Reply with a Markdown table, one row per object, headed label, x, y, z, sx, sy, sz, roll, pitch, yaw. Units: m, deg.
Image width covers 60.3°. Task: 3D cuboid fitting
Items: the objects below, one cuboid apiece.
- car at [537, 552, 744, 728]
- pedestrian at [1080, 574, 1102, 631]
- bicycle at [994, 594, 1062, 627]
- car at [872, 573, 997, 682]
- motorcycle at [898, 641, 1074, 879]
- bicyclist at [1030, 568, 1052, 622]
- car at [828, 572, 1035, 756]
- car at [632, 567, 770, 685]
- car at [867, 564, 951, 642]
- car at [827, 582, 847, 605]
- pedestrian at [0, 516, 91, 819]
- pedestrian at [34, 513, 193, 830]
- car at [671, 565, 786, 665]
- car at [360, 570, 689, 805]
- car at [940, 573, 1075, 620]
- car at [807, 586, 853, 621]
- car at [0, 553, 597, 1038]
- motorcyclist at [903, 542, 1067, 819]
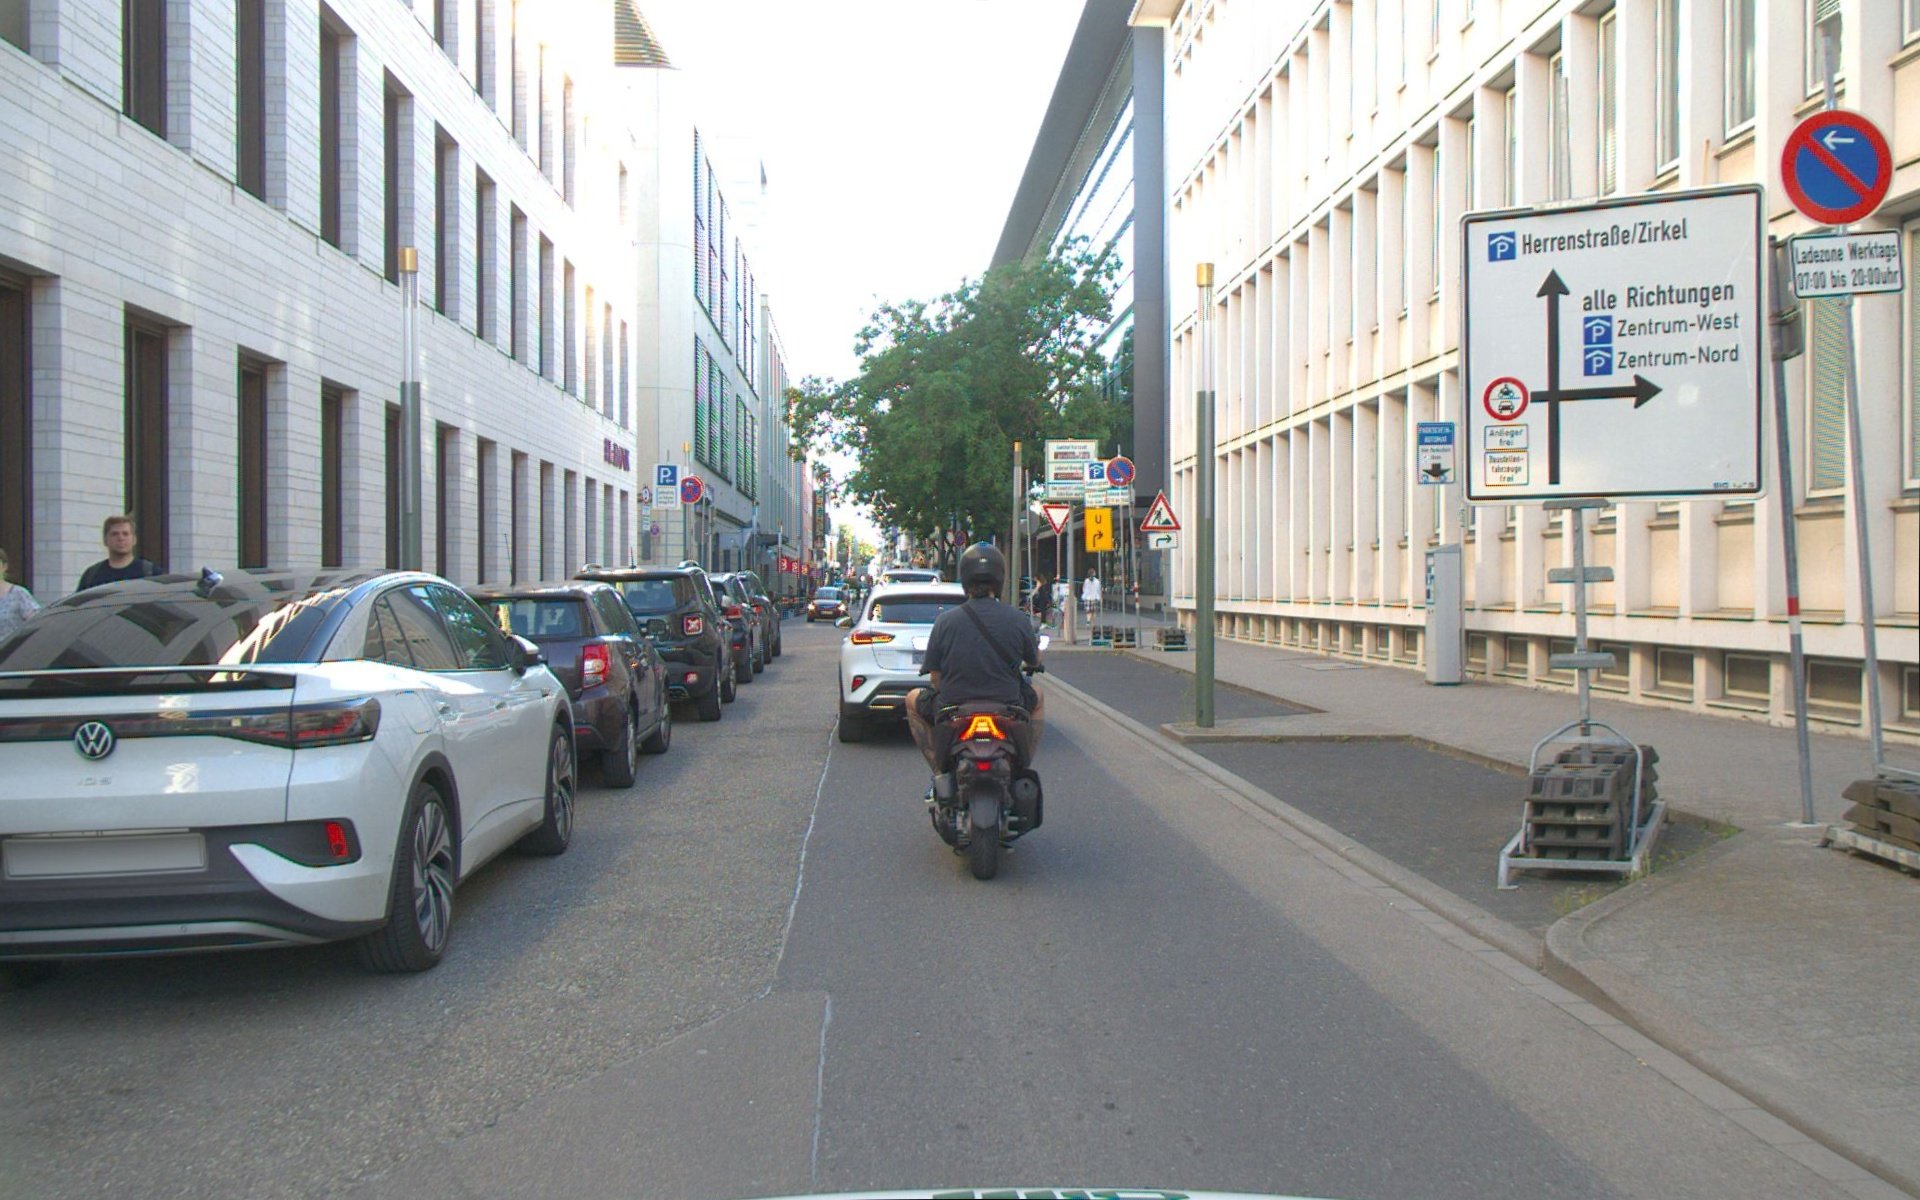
| label | x | y | z | sx | sy | sz | roll | pitch | yaw |
| --- | --- | --- | --- | --- | --- | --- | --- | --- | --- |
| car | -3.544 | 0.377 | 19.016 | 1.786 | 1.744 | 4.015 | -2 | 1 | -4 |
| pedestrian | 3.723 | 0.064 | 47.131 | 0.548 | 1.611 | 0.598 | 1 | -1 | -1 |
| bicycle | 2.114 | 0.326 | 51.583 | 2.059 | 1.012 | 0.518 | 1 | -1 | -1 |
| car | -0.494 | 0.382 | 26.944 | 1.786 | 1.568 | 4.361 | -2 | 1 | -4 |
| motorcycle | 0.099 | 0.813 | 9.094 | 0.855 | 1.128 | 1.839 | 1 | 0 | -2 |
| bicyclist | 2.517 | -0.155 | 51.595 | 0.617 | 1.654 | 0.498 | 1 | -1 | -2 |
| car | -0.390 | 0.527 | 16.768 | 1.786 | 1.568 | 4.261 | -2 | 1 | -4 |
| car | -3.930 | 0.341 | 25.649 | 1.705 | 1.622 | 4.151 | -2 | 1 | -4 |
| car | -1.257 | 0.031 | 38.960 | 1.786 | 1.674 | 4.491 | -2 | 1 | -4 |
| car | -13.073 | -0.684 | 175.885 | 1.955 | 2.369 | 5.015 | 2 | 0 | -5 |
| pedestrian | -5.968 | 0.405 | 10.333 | 0.630 | 1.821 | 0.816 | 1 | -1 | -3 |
| pedestrian | -5.027 | 0.417 | 9.852 | 0.628 | 1.821 | 0.575 | 1 | -1 | -3 |
| car | -4.302 | 0.234 | 31.297 | 1.786 | 1.707 | 4.260 | -2 | 1 | -4 |
| car | -3.370 | 0.567 | 13.628 | 1.786 | 1.568 | 4.261 | -2 | 1 | -4 |
| car | 1.800 | -0.138 | 63.267 | 4.908 | 1.477 | 1.998 | -4 | 0 | -6 |
| car | -5.780 | 0.187 | 73.843 | 1.785 | 1.491 | 4.262 | 0 | -1 | -1 |
| car | -3.010 | 0.621 | 7.708 | 1.786 | 1.568 | 4.445 | -2 | 1 | -3 |
| motorcyclist | 0.126 | 0.430 | 8.979 | 0.849 | 1.452 | 0.455 | 1 | -1 | -2 |
